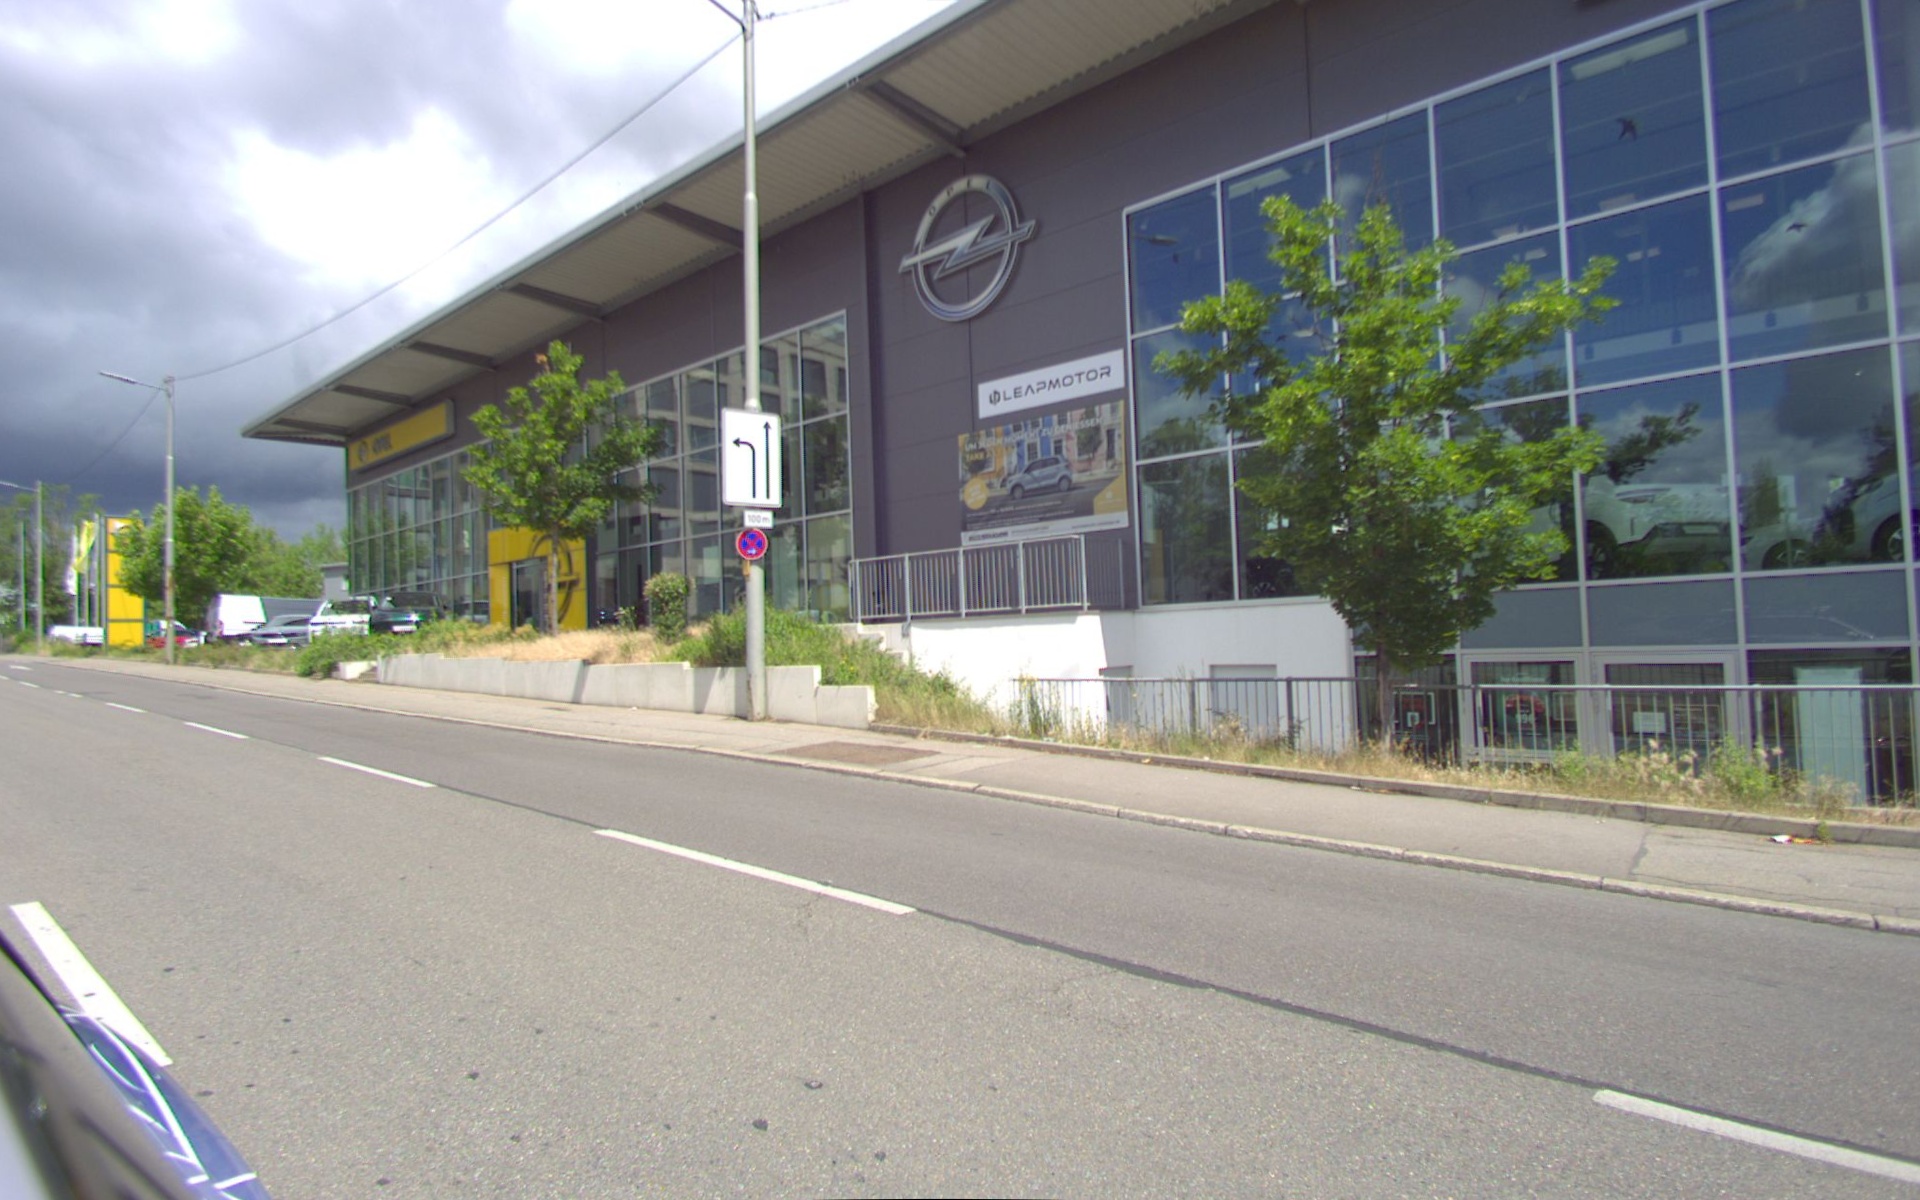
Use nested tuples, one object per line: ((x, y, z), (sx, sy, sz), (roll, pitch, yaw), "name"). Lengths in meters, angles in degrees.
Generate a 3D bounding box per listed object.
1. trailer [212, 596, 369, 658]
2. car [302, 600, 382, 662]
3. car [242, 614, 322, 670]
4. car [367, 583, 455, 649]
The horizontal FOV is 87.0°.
((-27.415, 1.087, 41.609), (1.998, 2.367, 5.011), (-1, -2, 39), "trailer")
((-19.204, 0.949, 31.593), (1.966, 1.807, 4.012), (1, -2, -29), "car")
((-23.469, 1.408, 35.155), (1.966, 1.807, 4.012), (1, -1, -29), "car")
((-15.678, 0.472, 28.804), (1.966, 1.741, 4.011), (1, -2, -31), "car")
